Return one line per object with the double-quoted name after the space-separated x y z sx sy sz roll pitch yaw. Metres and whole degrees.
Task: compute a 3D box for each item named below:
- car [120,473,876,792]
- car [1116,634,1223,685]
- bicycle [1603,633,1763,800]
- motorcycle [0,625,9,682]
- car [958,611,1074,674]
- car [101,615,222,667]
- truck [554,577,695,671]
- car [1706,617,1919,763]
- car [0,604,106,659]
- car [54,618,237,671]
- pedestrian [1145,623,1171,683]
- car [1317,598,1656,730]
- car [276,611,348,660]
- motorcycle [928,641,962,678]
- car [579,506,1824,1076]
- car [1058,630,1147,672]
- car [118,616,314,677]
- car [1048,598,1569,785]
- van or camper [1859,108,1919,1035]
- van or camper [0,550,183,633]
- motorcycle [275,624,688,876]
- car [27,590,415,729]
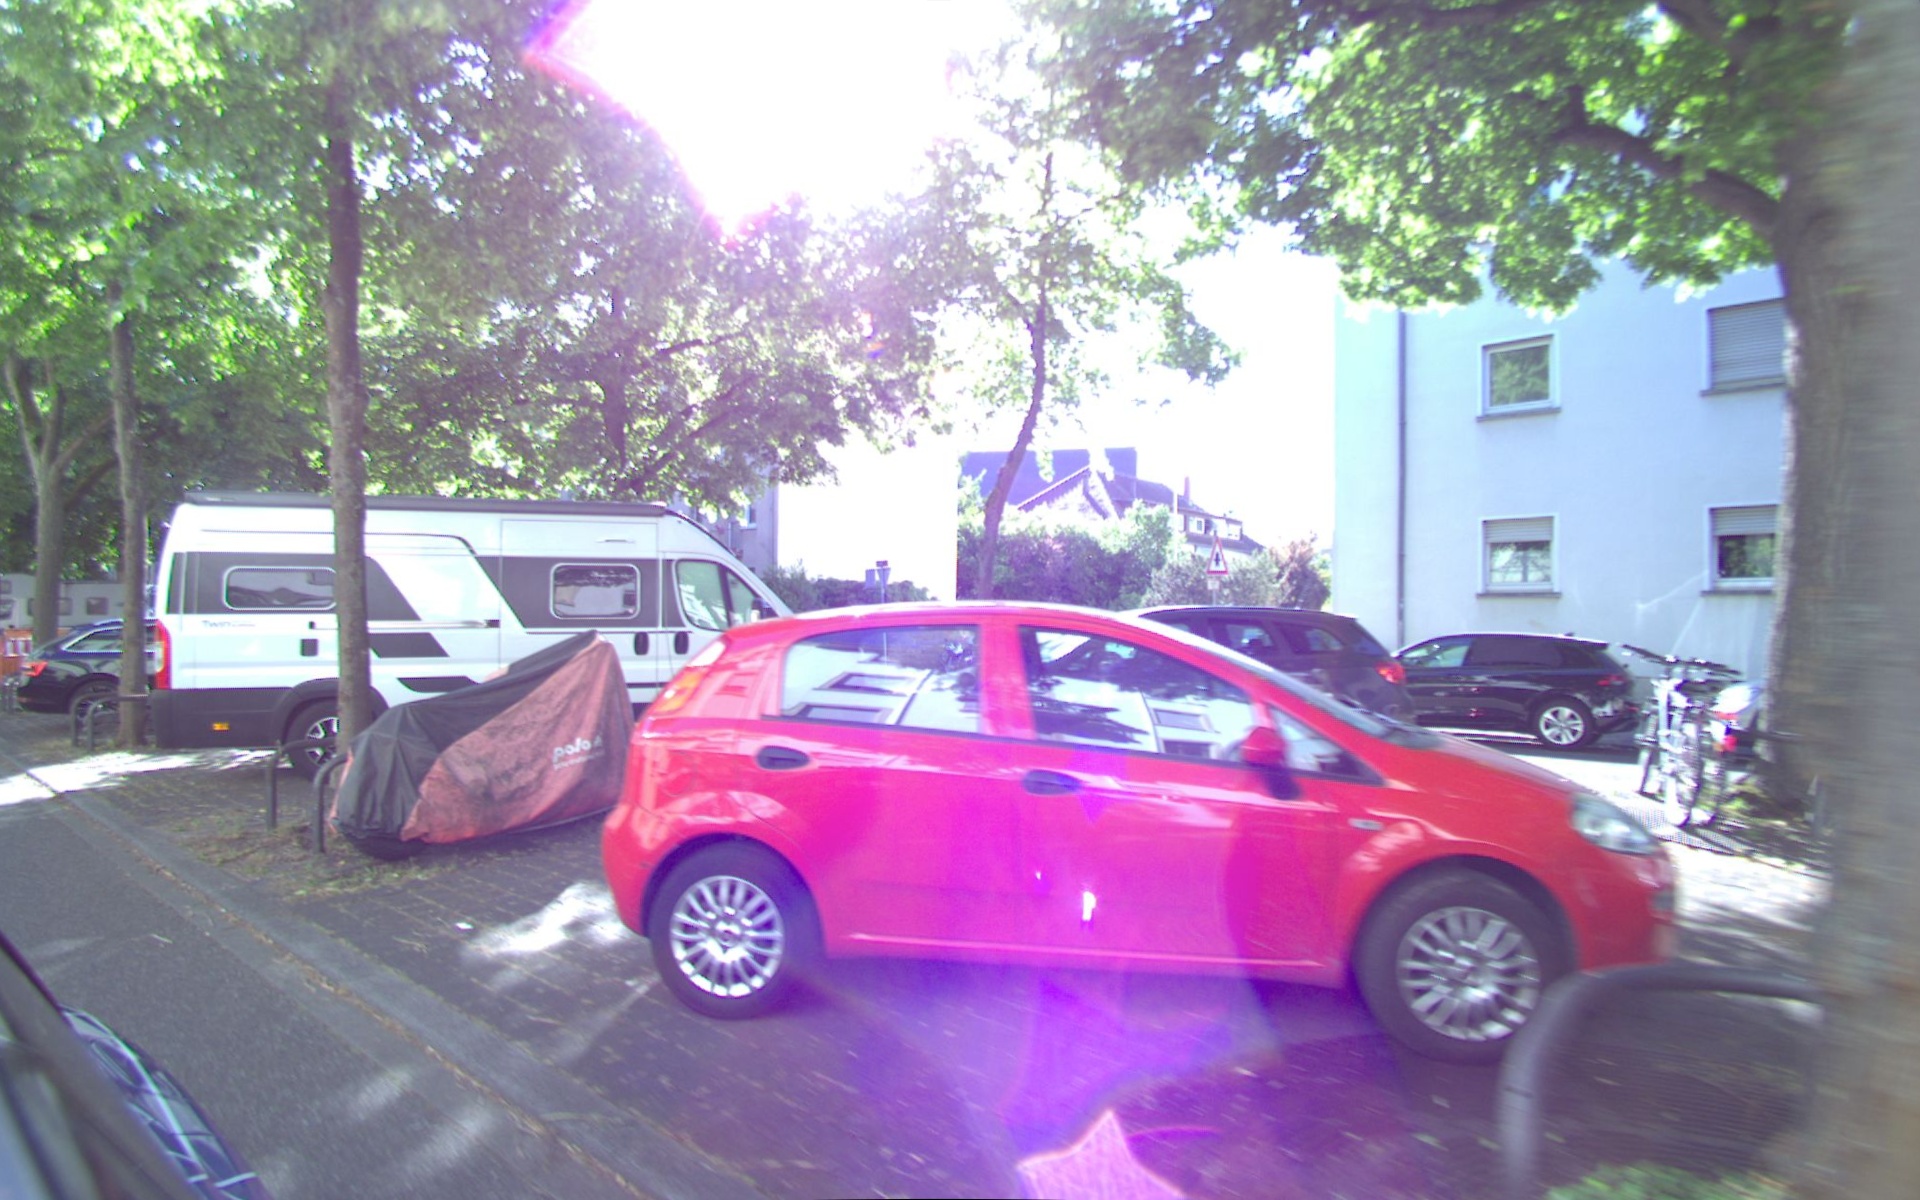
-4.161 0.255 10.202 6.220 2.578 2.345 0 0 -17 "car"
6.794 1.866 32.624 1.652 1.529 3.945 -1 -2 41 "car"
5.324 0.775 7.589 0.629 0.986 2.426 -1 -1 28 "bicycle"
-22.840 1.265 23.591 0.622 1.334 2.234 -1 0 -34 "motorcycle"
2.019 1.496 35.472 1.997 2.041 4.305 -1 -3 37 "car"
-27.593 1.418 35.042 2.941 1.730 1.426 1 -2 -17 "car"
-9.386 0.681 28.154 4.264 2.428 1.901 -1 -3 43 "truck"
10.366 0.935 10.563 4.076 1.447 1.732 -1 -4 39 "car"
-44.311 1.488 47.442 6.094 2.530 2.145 1 -2 -22 "car"
-24.390 1.345 30.453 3.932 1.530 1.675 1 -2 -16 "car"
5.521 1.476 28.243 0.555 1.652 0.484 -1 -3 35 "pedestrian"
6.946 0.802 13.538 3.761 1.530 1.689 -1 -3 40 "car"
-28.551 1.532 44.525 4.266 2.029 1.603 -1 -1 42 "car"
-0.492 1.910 32.902 0.471 1.145 1.816 1 -2 -22 "motorcycle"
0.695 0.568 4.050 3.836 1.630 1.659 0 -2 9 "car"
5.616 1.993 39.557 1.780 1.538 3.816 -1 -3 37 "car"
-18.974 1.175 26.011 3.846 1.472 1.582 1 -2 -29 "car"
2.998 0.758 9.246 4.073 1.497 1.836 0 -1 -6 "car"
6.231 -0.135 3.187 6.197 2.846 2.415 -1 0 -20 "van or camper"
-34.093 -0.256 39.129 5.929 3.025 2.407 1 -2 -21 "van or camper"
-2.994 0.832 6.650 0.965 1.345 2.301 -1 -2 31 "motorcycle"
-10.108 0.761 14.226 4.030 1.537 1.707 -4 0 -19 "car"
